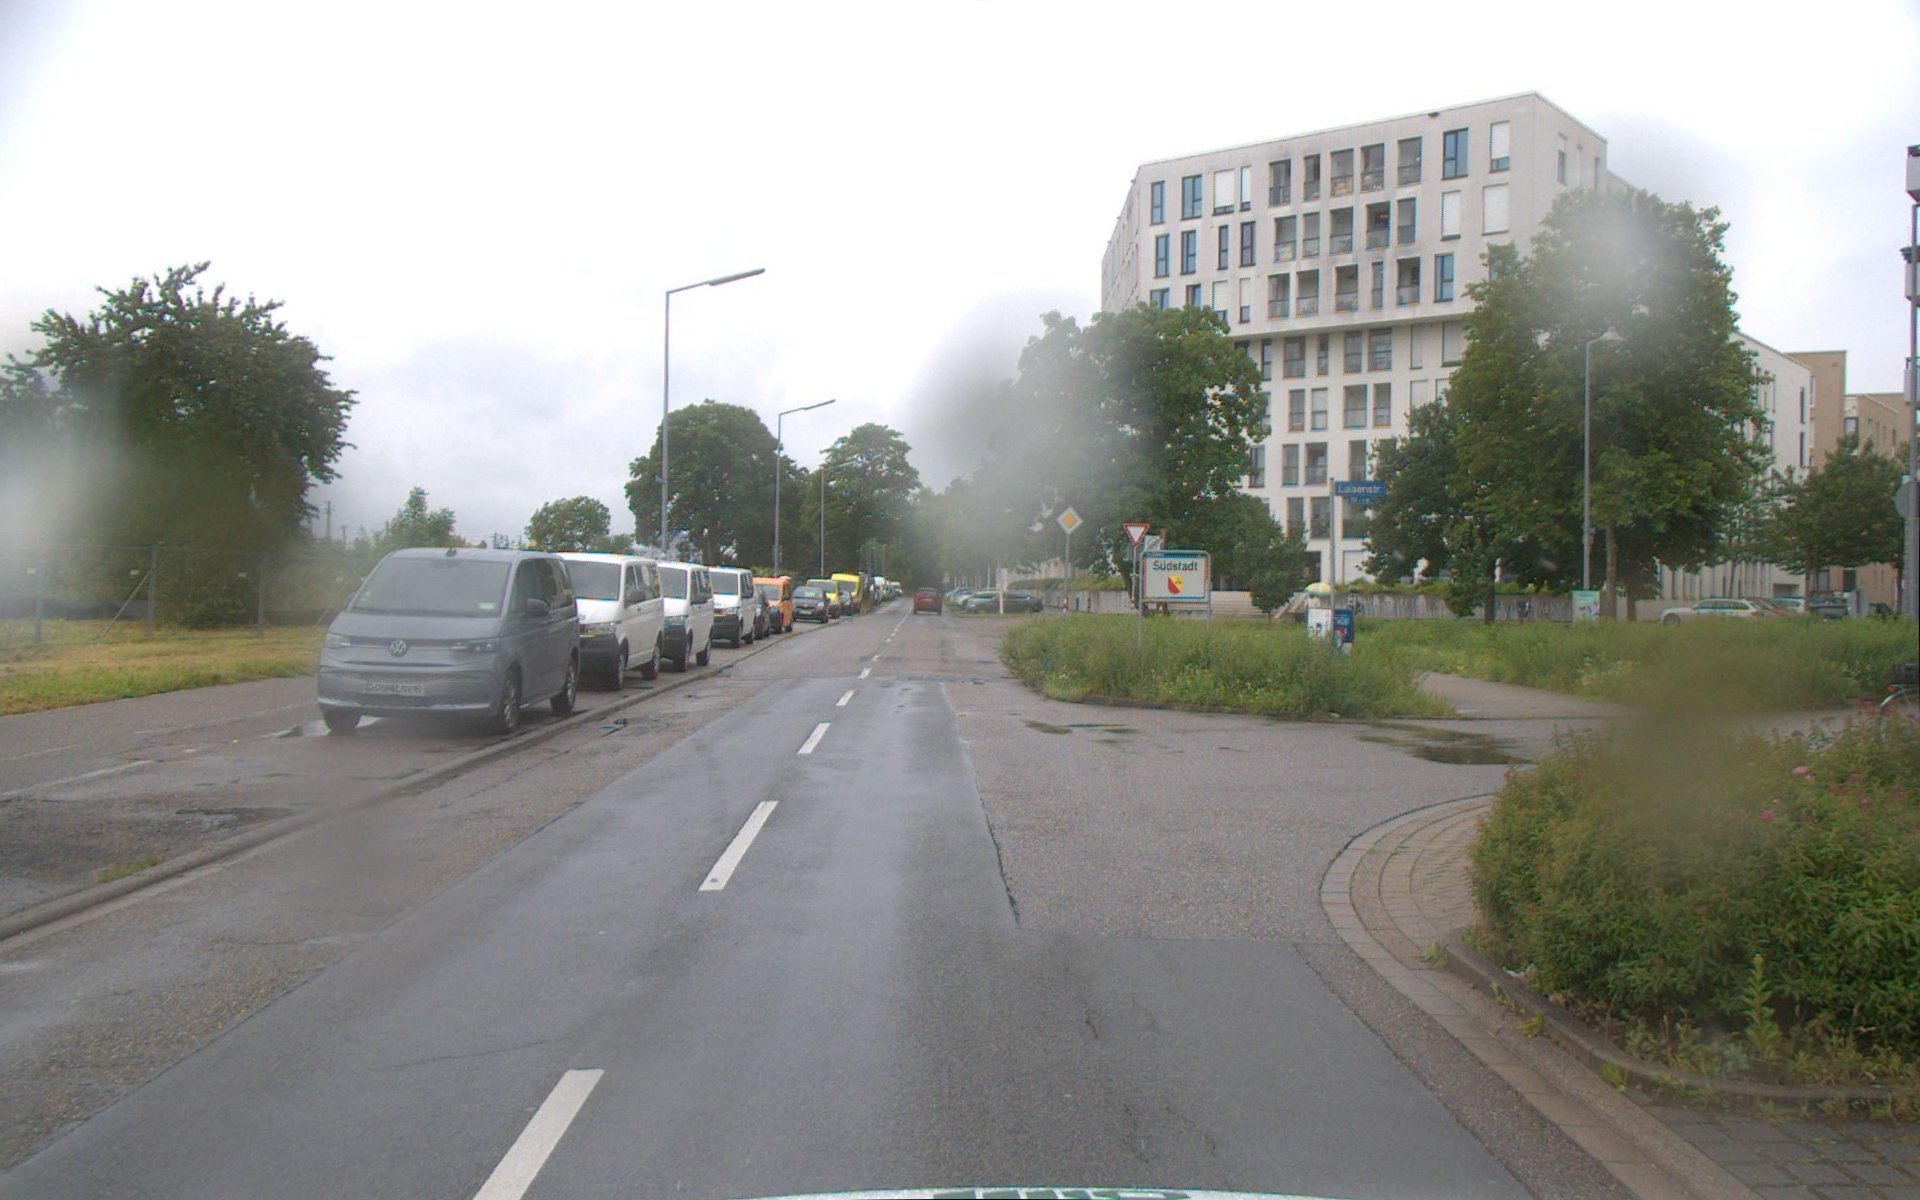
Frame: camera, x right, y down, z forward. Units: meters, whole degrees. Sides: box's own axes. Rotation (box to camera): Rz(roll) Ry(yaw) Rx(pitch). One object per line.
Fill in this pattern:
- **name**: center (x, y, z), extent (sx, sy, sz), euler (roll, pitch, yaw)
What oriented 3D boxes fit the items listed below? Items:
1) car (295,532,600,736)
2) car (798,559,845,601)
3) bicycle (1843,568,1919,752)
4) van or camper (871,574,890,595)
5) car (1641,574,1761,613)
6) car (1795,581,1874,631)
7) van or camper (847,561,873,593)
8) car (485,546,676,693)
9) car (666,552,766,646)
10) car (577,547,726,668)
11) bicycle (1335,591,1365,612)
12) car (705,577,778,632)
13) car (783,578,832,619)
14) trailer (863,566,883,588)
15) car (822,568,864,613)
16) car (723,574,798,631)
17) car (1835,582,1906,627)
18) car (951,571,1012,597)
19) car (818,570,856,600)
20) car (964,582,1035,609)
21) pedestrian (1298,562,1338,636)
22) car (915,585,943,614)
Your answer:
- **car**: center (-5.510, 0.294, 18.532), extent (1.916, 1.935, 4.994), euler (1, 1, -1)
- **car**: center (-7.057, -1.029, 84.628), extent (1.976, 1.990, 6.063), euler (3, 0, -2)
- **bicycle**: center (8.751, 0.506, 14.043), extent (2.142, 1.549, 0.631), euler (0, 1, 19)
- **van or camper**: center (-10.081, -2.005, 209.801), extent (2.145, 2.504, 6.376), euler (2, 0, -1)
- **car**: center (34.124, -0.322, 76.262), extent (4.747, 1.533, 1.616), euler (4, 3, 40)
- **car**: center (29.086, 0.175, 54.963), extent (1.701, 1.575, 4.104), euler (1, 1, 37)
- **van or camper**: center (-8.991, -2.047, 149.154), extent (2.053, 2.762, 7.570), euler (3, 0, -3)
- **car**: center (-5.842, 0.232, 26.116), extent (1.856, 2.048, 5.257), euler (1, 1, -1)
- **car**: center (-6.325, -0.082, 43.420), extent (1.903, 2.275, 5.556), euler (1, 1, -2)
- **car**: center (-5.879, 0.085, 32.140), extent (1.920, 2.094, 5.273), euler (2, 1, -1)
- **bicycle**: center (19.932, 0.075, 84.576), extent (0.711, 1.051, 2.064), euler (1, 1, 38)
- **car**: center (-6.512, 0.104, 49.733), extent (1.649, 1.528, 4.891), euler (1, 1, -2)
- **car**: center (-6.595, -0.096, 71.857), extent (1.767, 1.588, 4.032), euler (4, 1, -1)
- **trailer**: center (-9.637, -2.572, 183.202), extent (2.018, 2.256, 5.792), euler (2, 1, -3)
- **car**: center (-7.668, -0.614, 108.694), extent (2.147, 2.741, 6.082), euler (3, 1, 0)
- **car**: center (-6.589, 0.054, 55.004), extent (1.900, 1.798, 4.331), euler (1, 1, 0)
- **car**: center (32.963, 0.170, 59.862), extent (1.701, 1.575, 3.983), euler (1, 0, 37)
- **car**: center (1.661, -1.239, 127.194), extent (4.451, 1.714, 1.884), euler (-4, 1, -4)
- **car**: center (-7.180, -0.867, 96.927), extent (1.954, 1.621, 5.015), euler (3, 0, -2)
- **car**: center (2.481, -0.297, 104.294), extent (4.397, 1.507, 1.691), euler (-2, 1, -2)
- **pedestrian**: center (10.021, -0.041, 46.305), extent (0.946, 2.048, 0.622), euler (1, 1, -1)
- **car**: center (-1.987, -0.038, 105.741), extent (1.721, 1.735, 3.999), euler (1, 1, -2)
